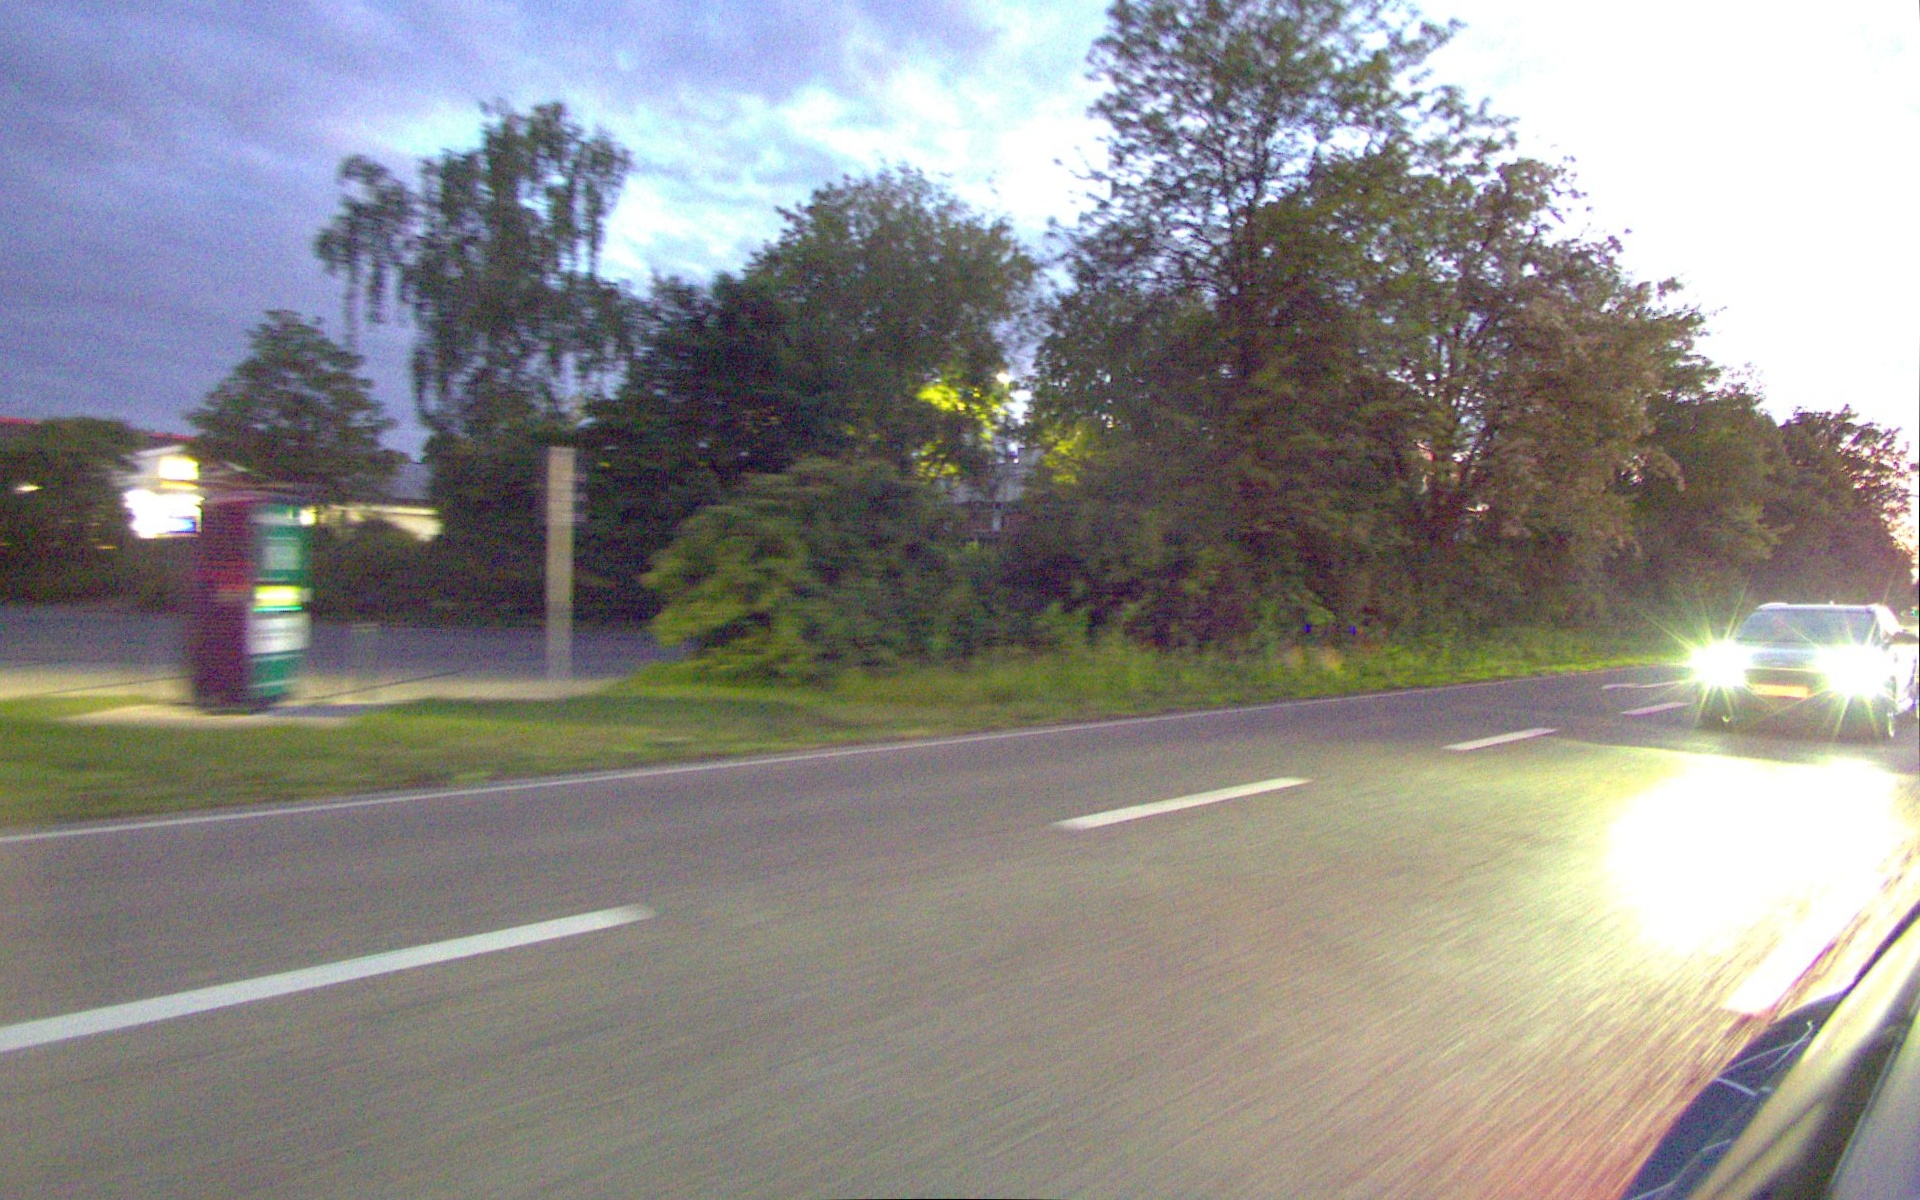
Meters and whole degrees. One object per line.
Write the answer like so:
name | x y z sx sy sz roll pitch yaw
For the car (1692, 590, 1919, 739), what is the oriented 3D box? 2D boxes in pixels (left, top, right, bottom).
car | 11.521 0.718 13.397 4.629 1.630 1.997 1 0 -41
